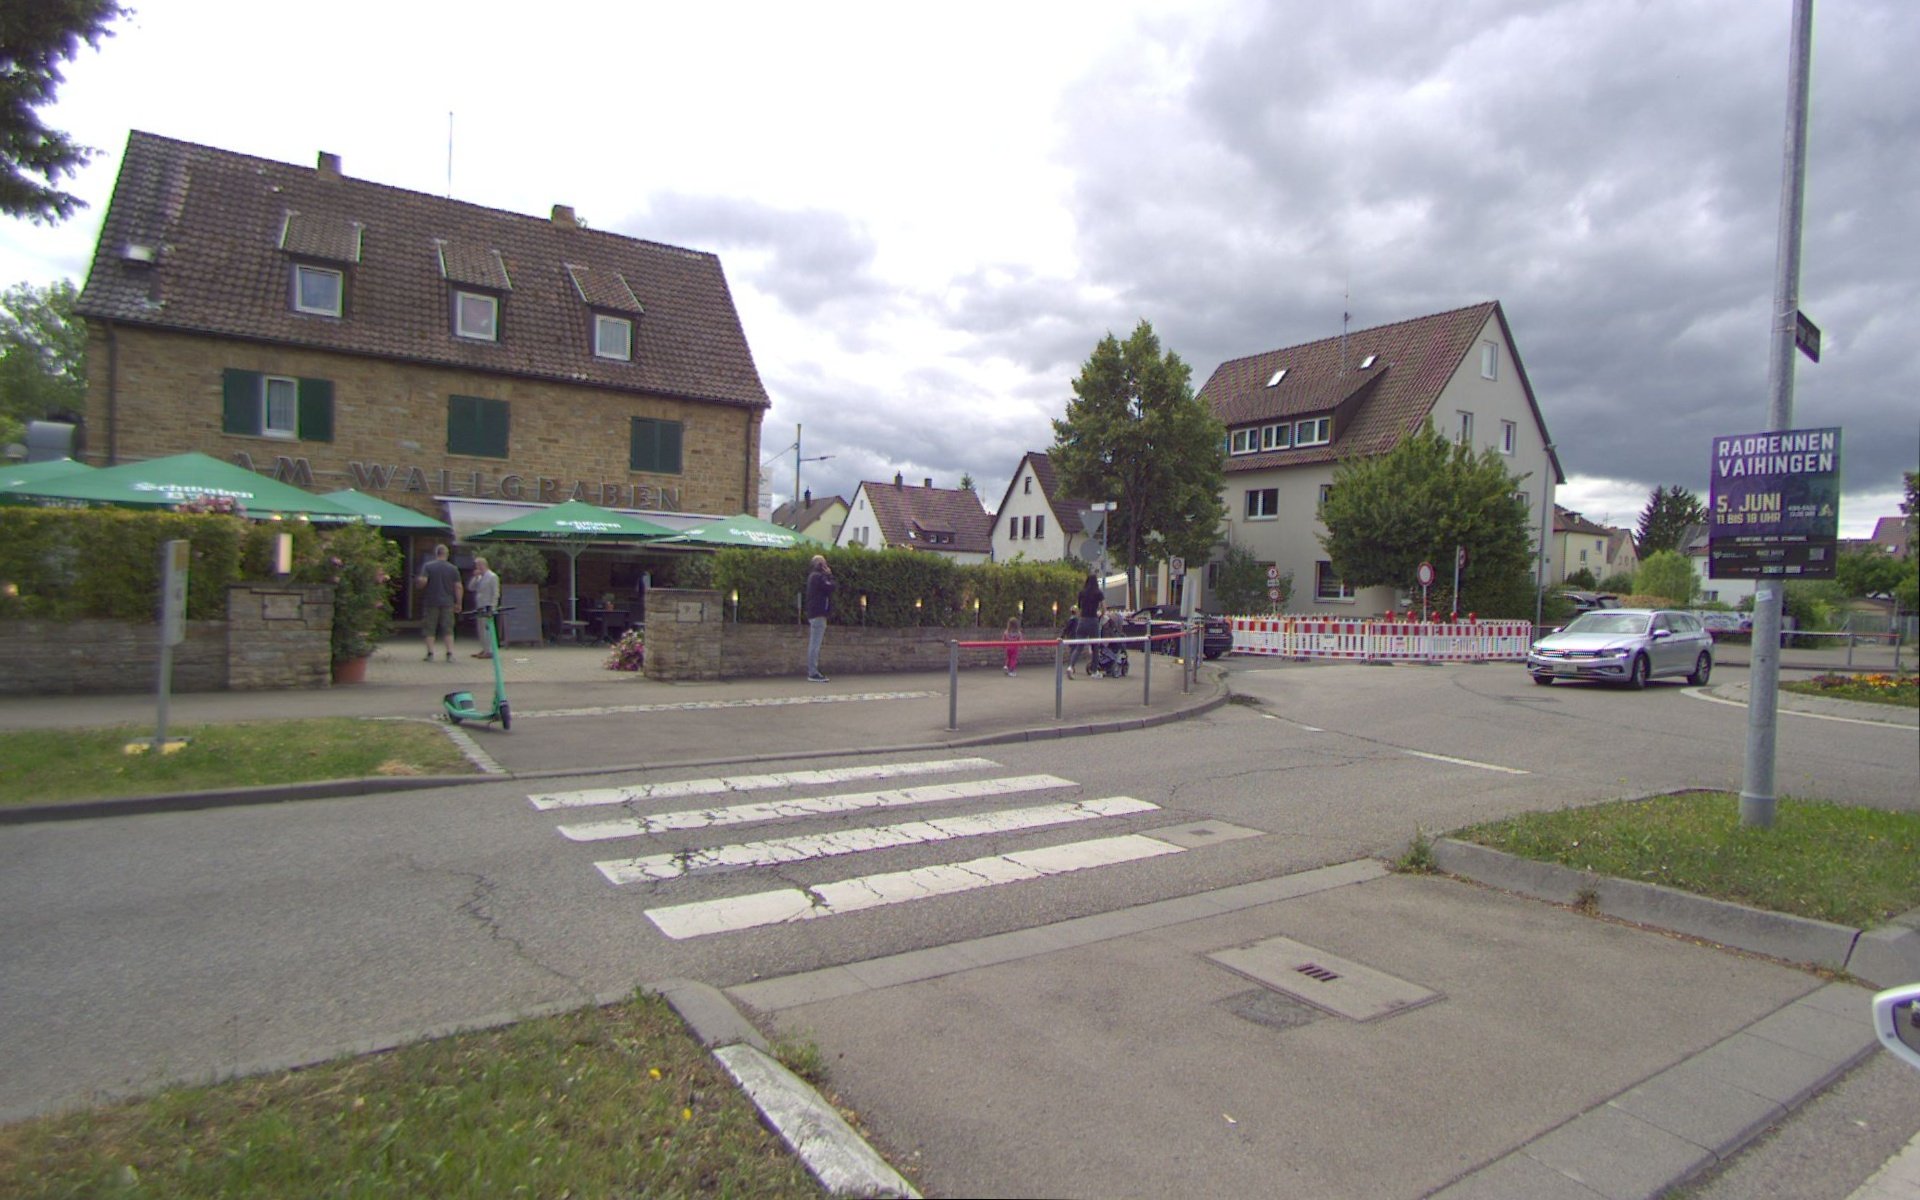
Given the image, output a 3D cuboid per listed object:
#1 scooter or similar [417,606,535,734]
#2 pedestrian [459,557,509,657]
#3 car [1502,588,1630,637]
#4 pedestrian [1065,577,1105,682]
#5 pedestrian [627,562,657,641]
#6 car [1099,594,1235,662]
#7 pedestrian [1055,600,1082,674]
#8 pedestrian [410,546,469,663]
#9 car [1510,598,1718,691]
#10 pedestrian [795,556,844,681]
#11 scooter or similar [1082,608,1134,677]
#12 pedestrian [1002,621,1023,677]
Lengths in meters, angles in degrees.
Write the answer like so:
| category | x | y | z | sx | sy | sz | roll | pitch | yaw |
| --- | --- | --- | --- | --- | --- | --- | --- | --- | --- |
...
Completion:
| category | x | y | z | sx | sy | sz | roll | pitch | yaw |
| --- | --- | --- | --- | --- | --- | --- | --- | --- | --- |
| scooter or similar | -4.714 | 0.655 | 9.773 | 1.264 | 1.154 | 0.347 | 2 | 1 | 28 |
| pedestrian | -8.069 | 0.111 | 17.038 | 0.605 | 1.665 | 0.454 | 1 | 1 | -4 |
| car | 21.452 | 0.424 | 35.666 | 1.580 | 1.632 | 3.574 | 1 | 1 | -27 |
| pedestrian | 2.063 | 0.470 | 16.545 | 0.474 | 1.692 | 0.515 | 2 | 1 | 25 |
| pedestrian | -7.385 | 0.032 | 23.333 | 0.562 | 1.808 | 0.642 | 1 | 1 | -13 |
| car | 5.599 | 0.716 | 27.491 | 1.557 | 1.656 | 3.589 | 1 | 1 | -33 |
| pedestrian | 1.891 | 0.632 | 17.479 | 0.336 | 1.261 | 0.354 | 2 | 1 | 26 |
| pedestrian | -8.328 | 0.067 | 16.062 | 0.742 | 1.808 | 0.566 | 1 | 1 | -36 |
| car | 12.617 | 0.797 | 19.320 | 4.215 | 1.581 | 1.857 | 1 | 1 | -34 |
| pedestrian | -2.081 | 0.270 | 14.848 | 0.534 | 1.808 | 0.558 | 1 | 1 | -28 |
| scooter or similar | 2.532 | 0.710 | 17.168 | 0.400 | 1.110 | 0.966 | 5 | 3 | 37 |
| pedestrian | 0.866 | 0.807 | 16.573 | 0.234 | 0.906 | 0.259 | 2 | 1 | 25 |
